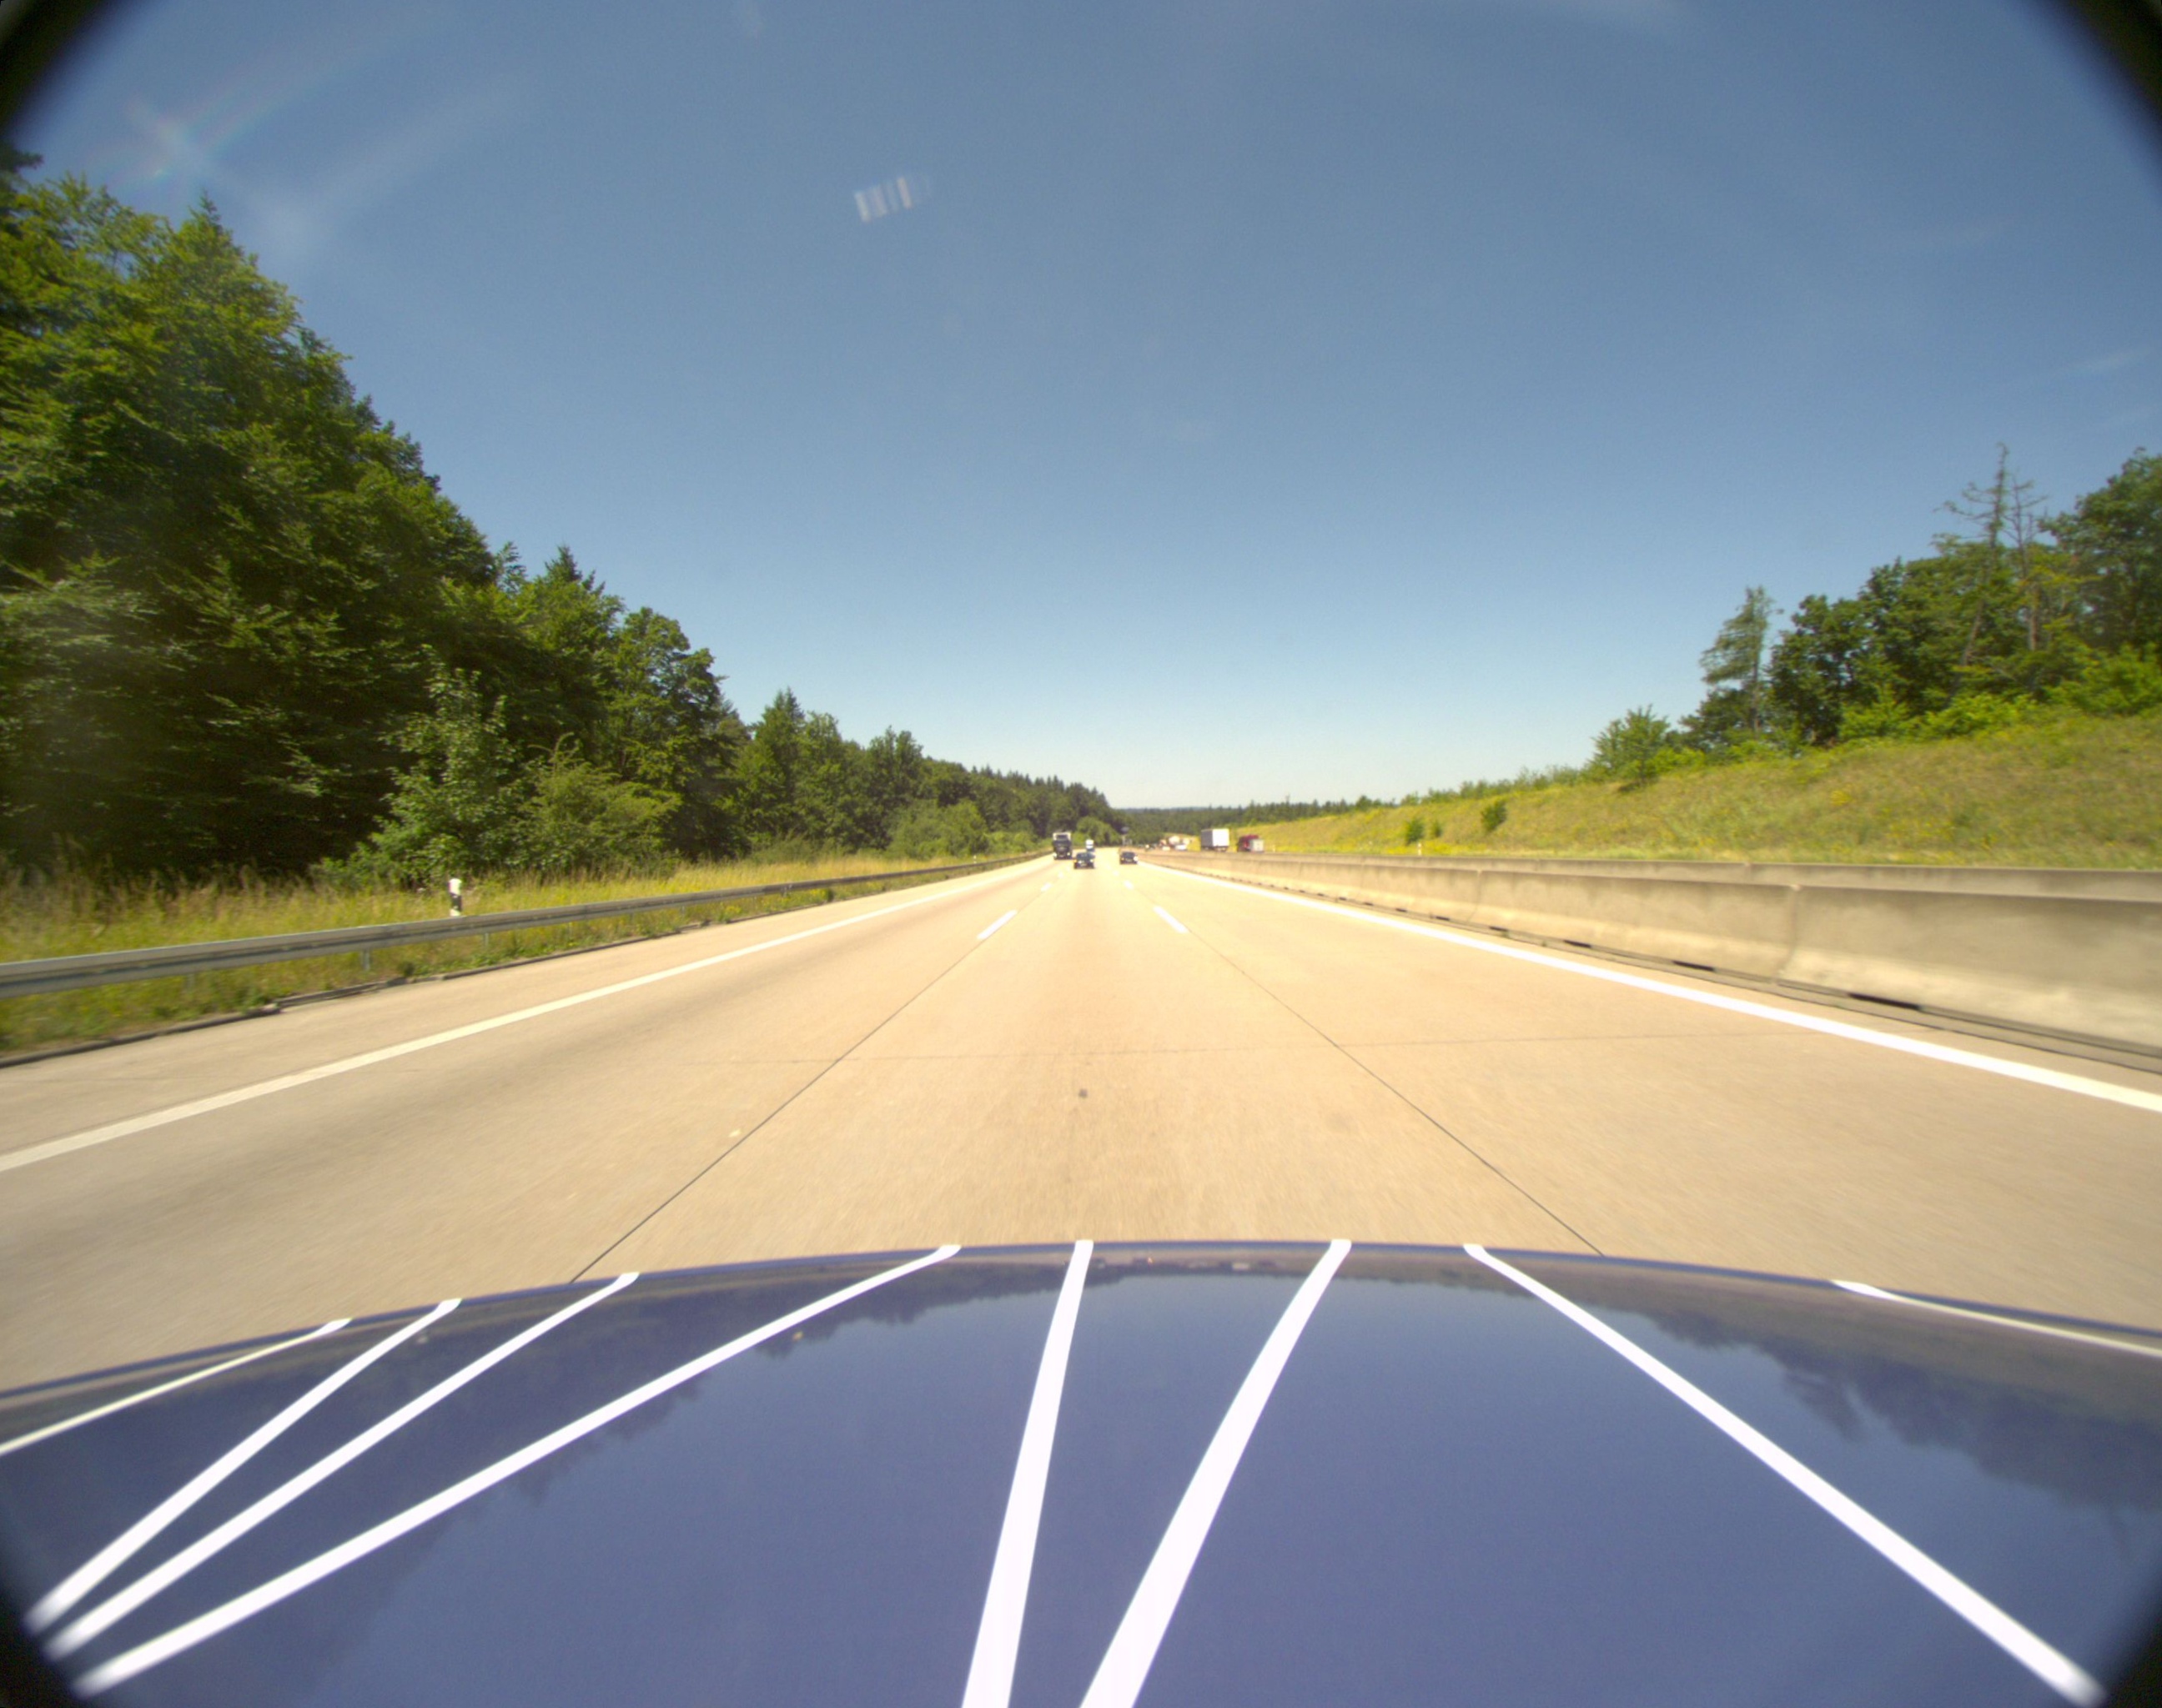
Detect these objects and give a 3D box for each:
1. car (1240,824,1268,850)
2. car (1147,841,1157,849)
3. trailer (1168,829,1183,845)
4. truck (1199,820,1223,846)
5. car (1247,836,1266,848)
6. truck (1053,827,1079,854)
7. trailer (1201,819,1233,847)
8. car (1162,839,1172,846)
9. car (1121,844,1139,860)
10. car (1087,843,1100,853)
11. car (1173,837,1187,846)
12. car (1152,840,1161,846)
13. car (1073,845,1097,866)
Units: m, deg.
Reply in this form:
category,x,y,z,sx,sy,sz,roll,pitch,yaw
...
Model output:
category,x,y,z,sx,sy,sz,roll,pitch,yaw
car,22.739,-2.195,100.216,1.998,3.223,7.059,-2,1,1
car,16.379,-2.090,174.509,1.998,1.574,4.402,-1,1,1
trailer,25.664,-4.538,206.056,2.940,4.145,9.333,-2,1,1
truck,23.728,-3.782,139.311,3.264,4.479,6.573,-2,1,1
car,22.705,-1.587,98.367,1.618,1.591,3.576,0,1,1
truck,-2.233,-2.141,118.370,3.166,3.994,10.608,0,1,4
trailer,23.590,-3.633,132.754,3.264,4.479,13.736,-2,1,1
car,20.579,-2.759,181.700,1.998,1.574,4.529,-1,1,1
car,5.207,-0.244,81.497,1.842,1.547,4.000,-2,1,3
car,2.214,-1.069,130.160,1.998,1.694,4.400,-2,1,3
car,19.179,-2.415,147.026,1.998,1.574,5.518,-1,1,1
car,20.707,-2.940,207.773,1.998,1.574,4.429,-1,1,1
car,0.362,0.102,68.363,1.930,1.694,4.399,-2,1,2
